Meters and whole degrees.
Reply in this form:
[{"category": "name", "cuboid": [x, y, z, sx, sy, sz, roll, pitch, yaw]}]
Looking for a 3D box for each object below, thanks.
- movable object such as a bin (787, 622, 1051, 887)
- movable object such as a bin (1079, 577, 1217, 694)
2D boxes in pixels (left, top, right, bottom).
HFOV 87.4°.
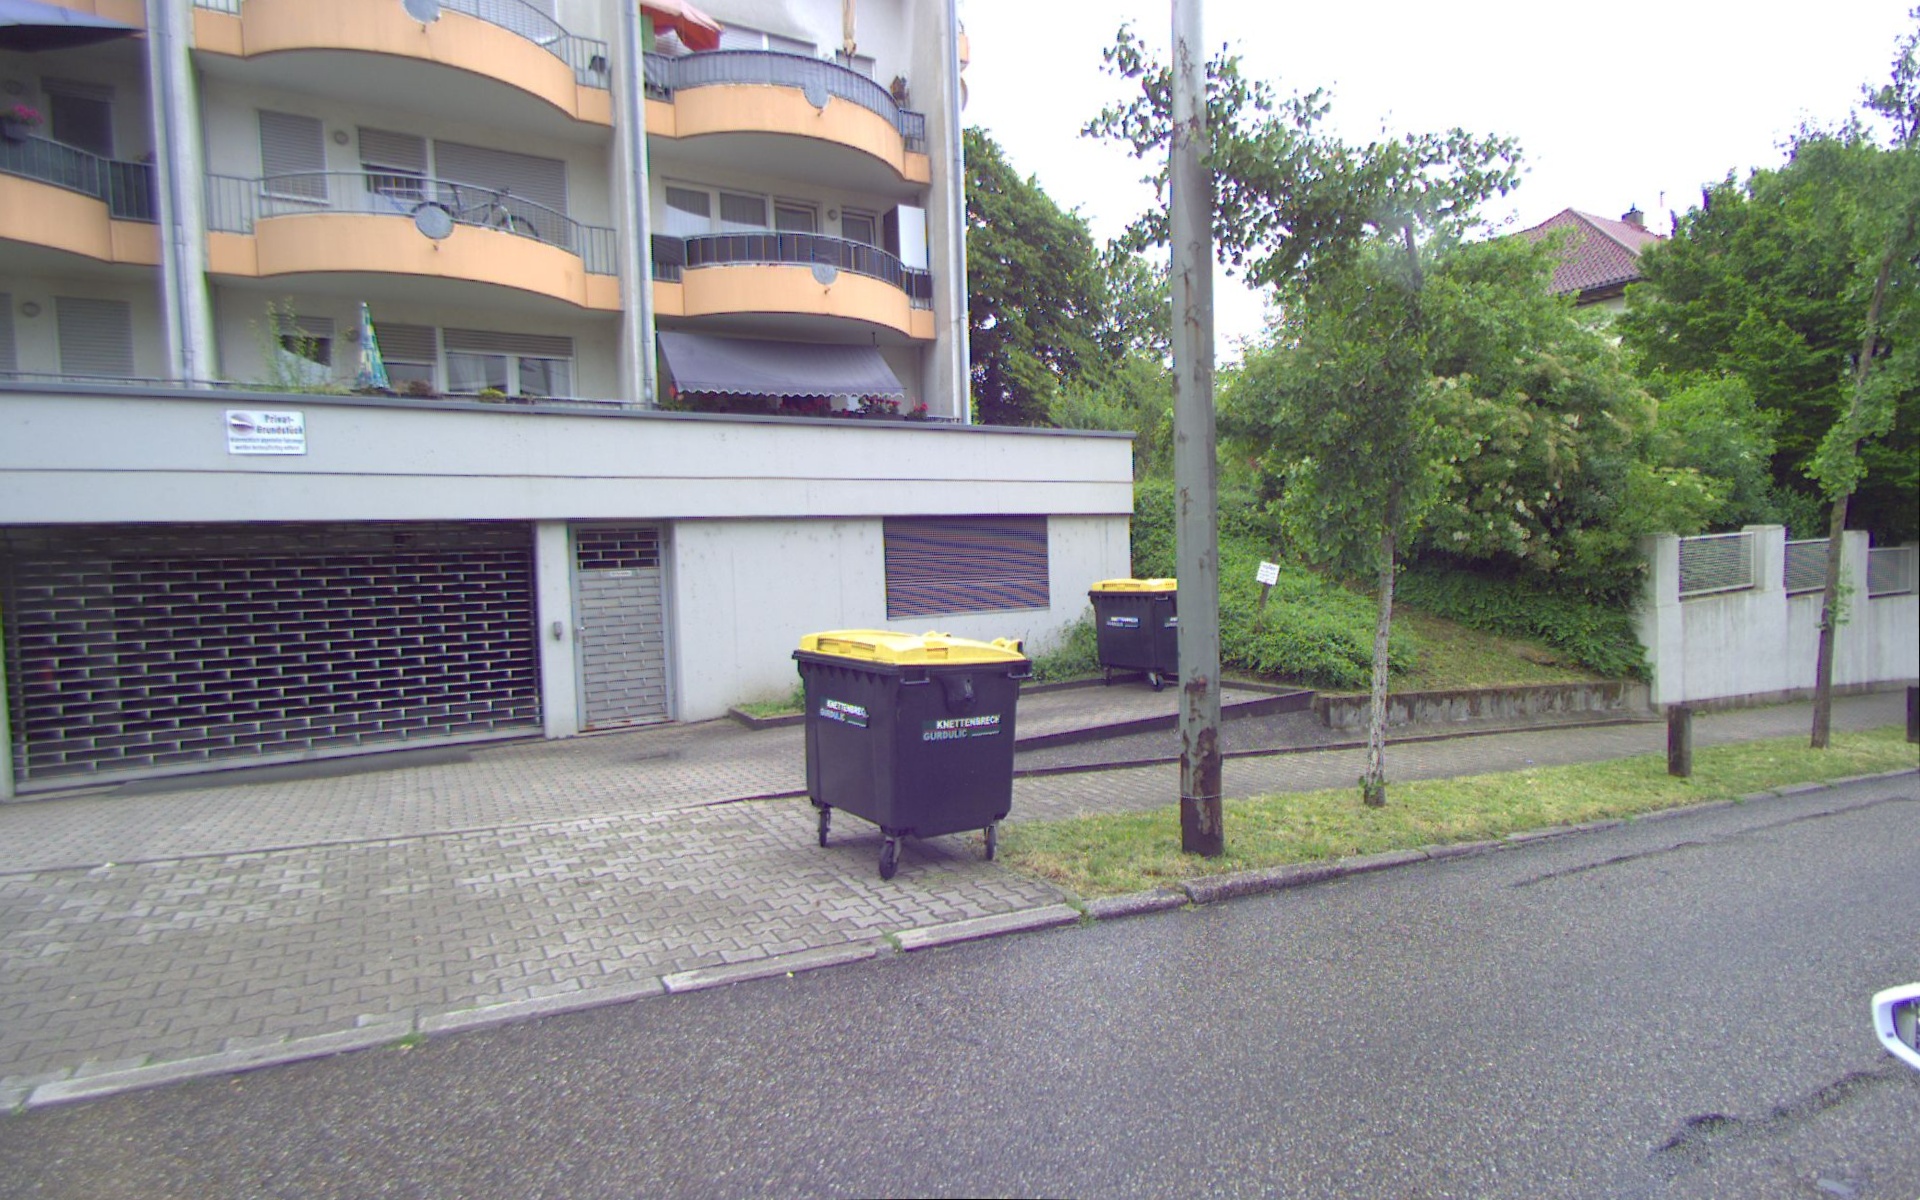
[{"category": "movable object such as a bin", "cuboid": [-0.273, 0.841, 6.165, 1.113, 1.368, 1.213, 1, 1, -38]}, {"category": "movable object such as a bin", "cuboid": [2.367, 0.399, 12.696, 1.152, 1.333, 1.252, -4, 3, -38]}]
